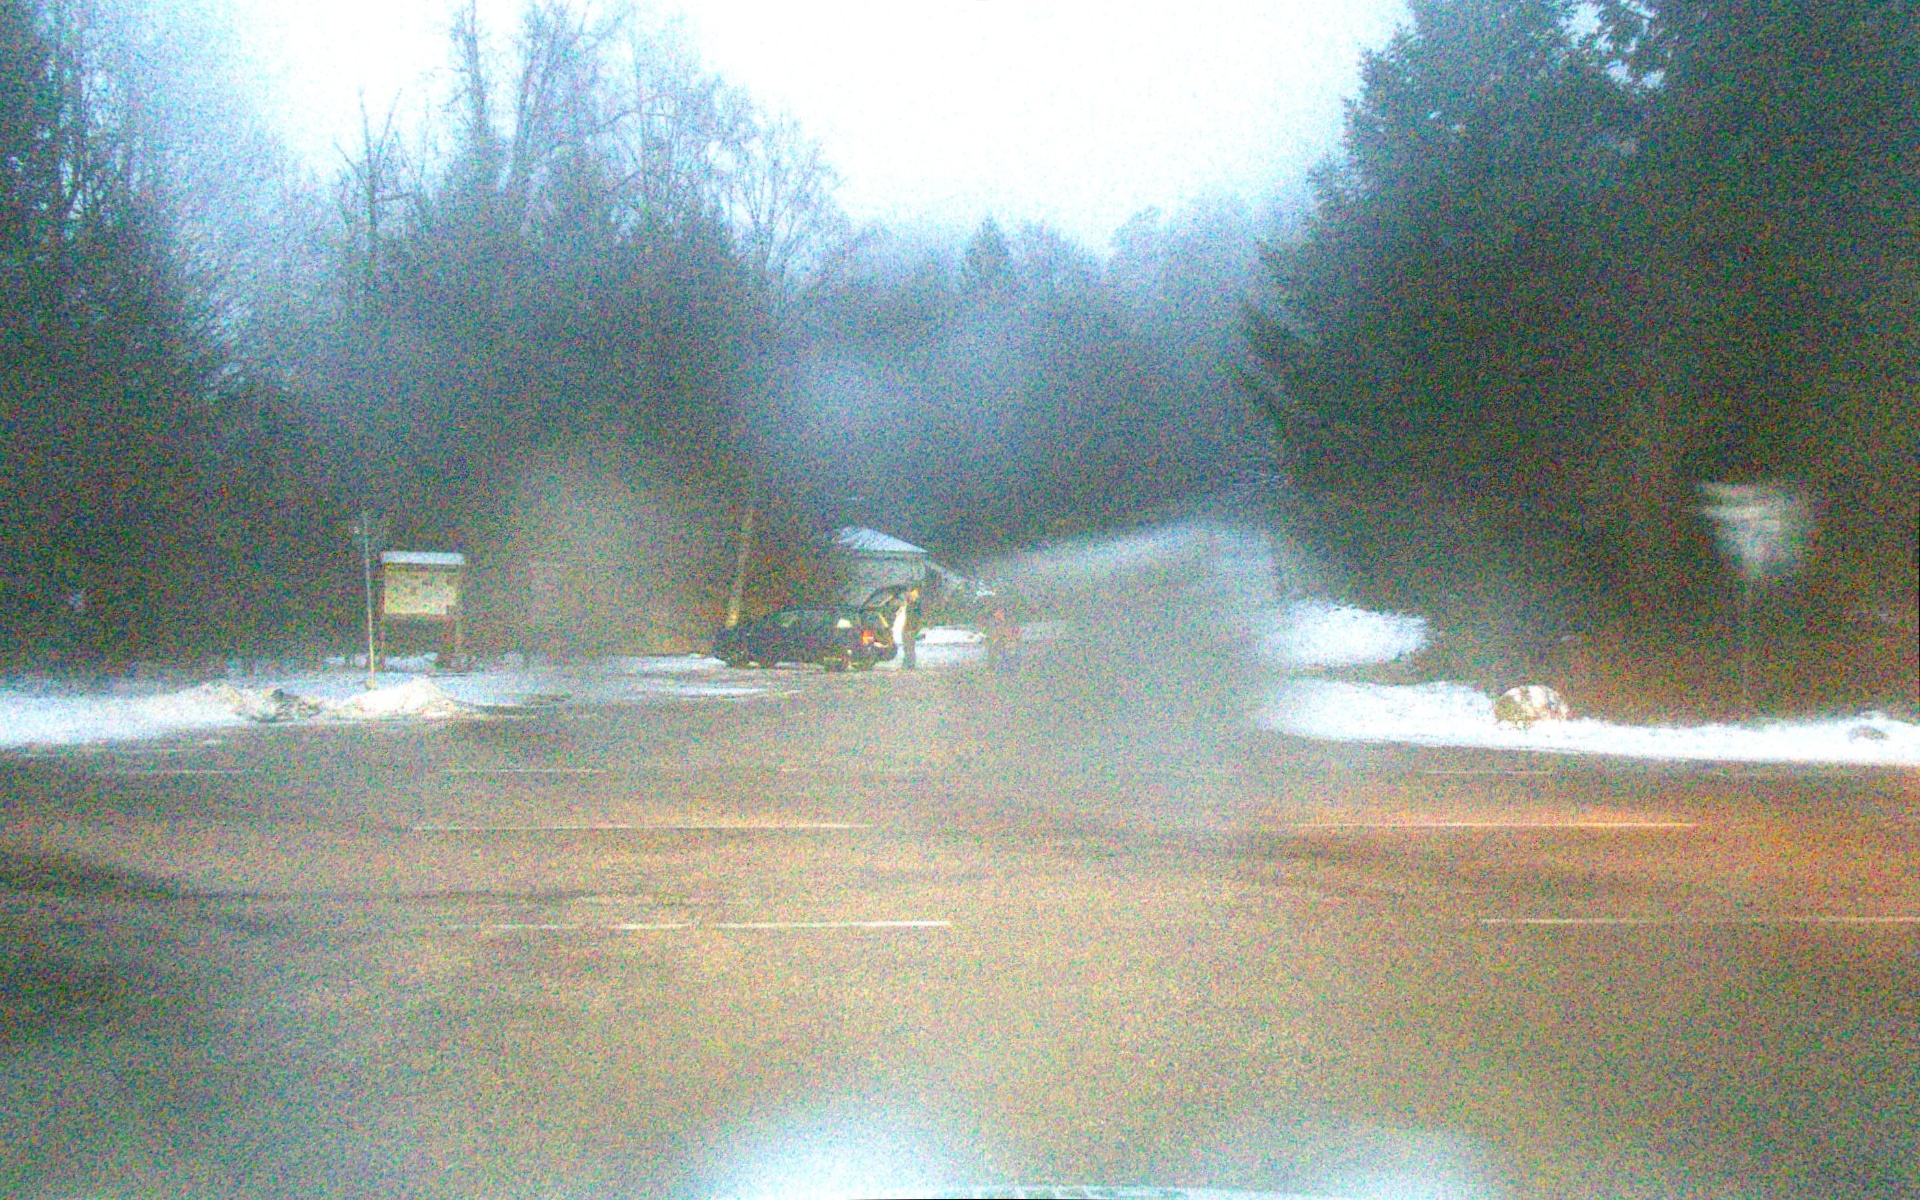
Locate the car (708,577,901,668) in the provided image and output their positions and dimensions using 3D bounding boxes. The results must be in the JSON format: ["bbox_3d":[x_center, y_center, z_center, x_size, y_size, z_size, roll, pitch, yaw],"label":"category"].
[{"bbox_3d":[-3.503,0.511,37.605,3.863,1.914,2.001,1,-1,16],"label":"car"}]

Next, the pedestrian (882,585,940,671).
[{"bbox_3d":[-1.075,0.618,36.404,0.941,1.860,0.925,1,-2,20],"label":"pedestrian"}]
